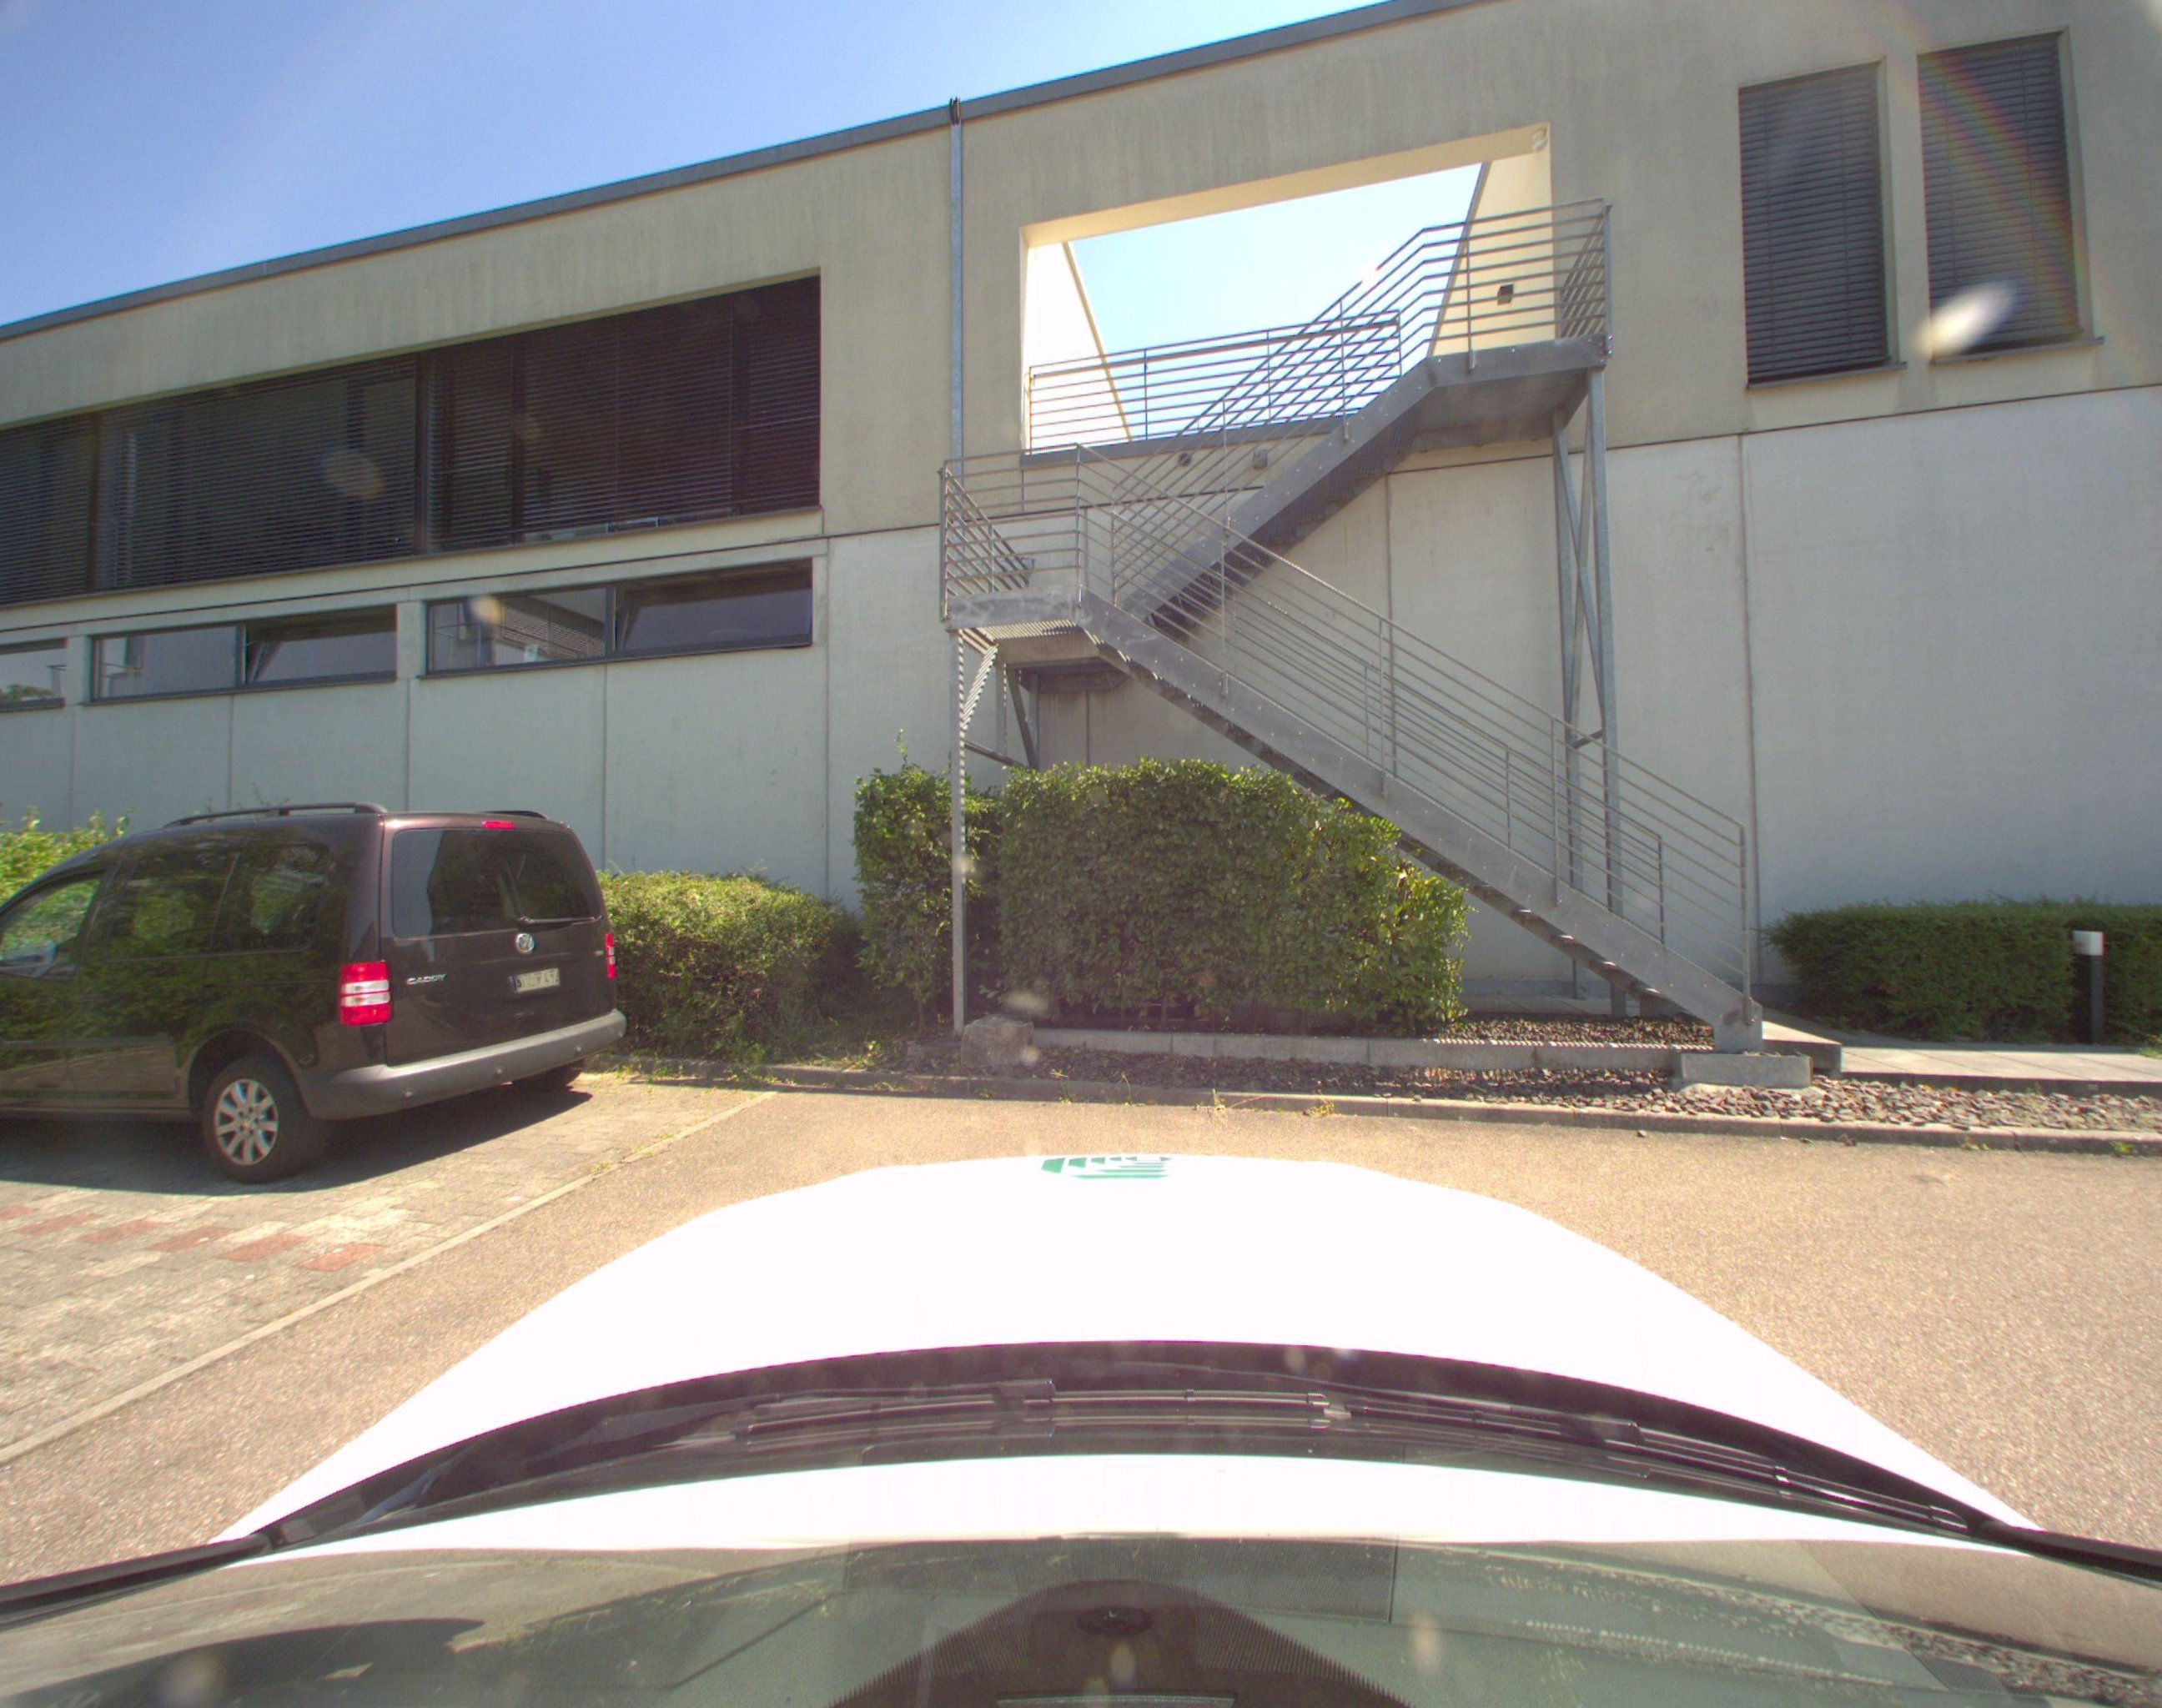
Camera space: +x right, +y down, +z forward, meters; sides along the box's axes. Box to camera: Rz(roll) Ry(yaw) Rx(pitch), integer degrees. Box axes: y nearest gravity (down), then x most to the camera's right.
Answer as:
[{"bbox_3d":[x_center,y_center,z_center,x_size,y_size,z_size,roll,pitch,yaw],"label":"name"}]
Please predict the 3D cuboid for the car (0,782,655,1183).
[{"bbox_3d":[-5.035,0.639,5.111,4.029,1.884,1.685,-1,-1,13],"label":"car"}]
